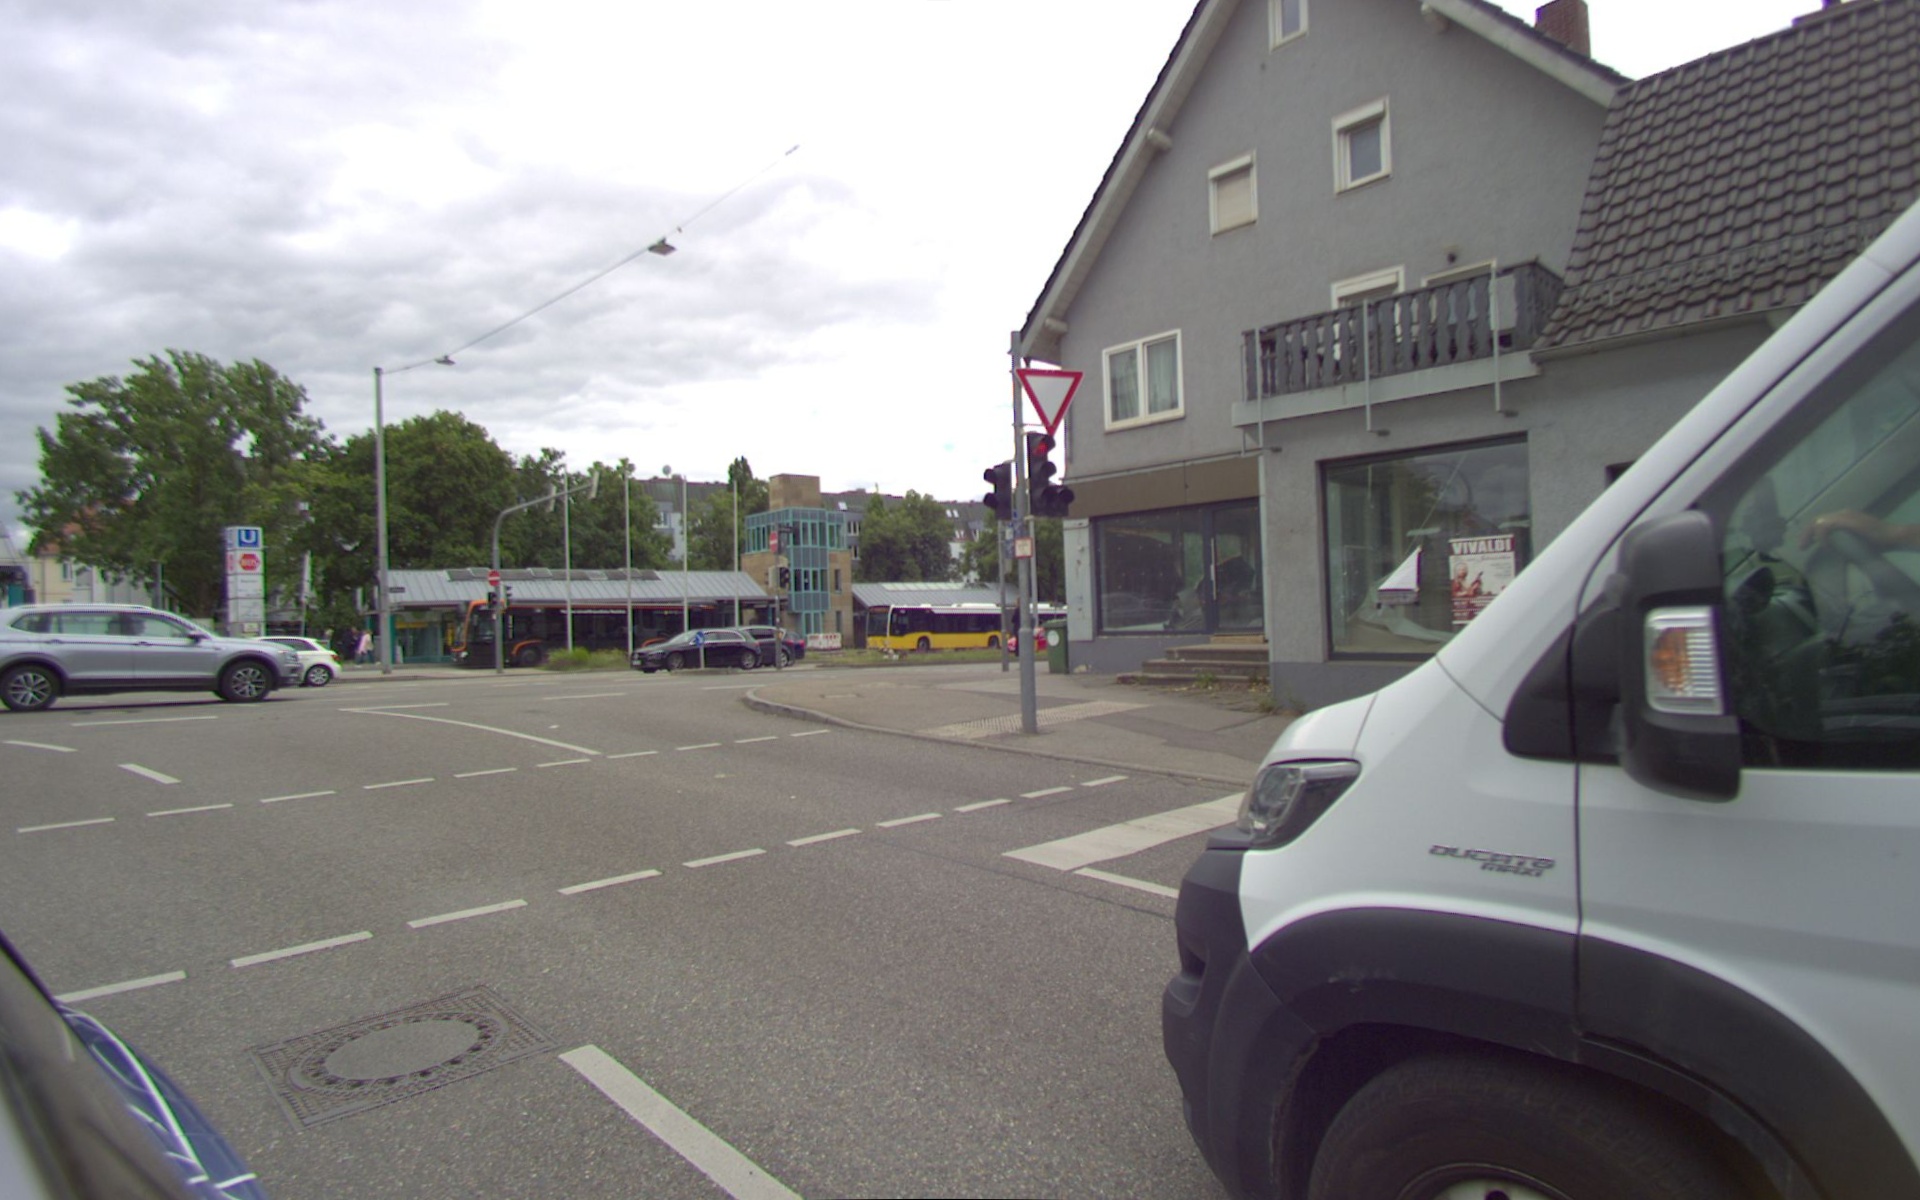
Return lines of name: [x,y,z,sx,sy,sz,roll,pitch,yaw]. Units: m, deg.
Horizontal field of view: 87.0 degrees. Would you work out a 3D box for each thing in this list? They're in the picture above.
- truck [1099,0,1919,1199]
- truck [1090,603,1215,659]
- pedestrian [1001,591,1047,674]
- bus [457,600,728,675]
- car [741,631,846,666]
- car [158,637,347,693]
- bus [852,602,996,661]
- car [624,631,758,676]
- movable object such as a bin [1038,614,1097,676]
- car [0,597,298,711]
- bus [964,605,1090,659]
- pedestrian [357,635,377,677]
truck: [3.334,0.236,0.385,2.096,2.218,6.595,-2,0,-44]
truck: [6.995,1.076,36.539,4.771,1.905,2.002,0,-2,-43]
pedestrian: [1.490,0.765,23.615,0.726,1.880,0.766,-1,-4,41]
bus: [-16.361,1.608,46.154,11.673,3.086,2.003,0,-3,-41]
car: [-6.514,1.921,39.868,1.668,1.321,3.860,-2,-4,44]
car: [-18.823,1.717,27.049,1.632,1.391,3.878,-2,-4,45]
bus: [-2.169,2.012,64.233,9.105,3.510,3.226,2,-3,-40]
car: [-8.613,1.686,32.582,1.668,1.321,3.860,-2,-2,44]
movable object such as a bin: [2.050,0.848,19.218,0.764,1.143,0.830,-1,-4,42]
car: [-13.730,0.836,16.728,4.443,1.683,2.002,0,-2,-42]
bus: [4.763,2.216,70.109,9.082,3.510,3.226,2,-3,-40]
pedestrian: [-28.674,2.698,48.926,0.721,2.029,0.854,3,-3,-34]
